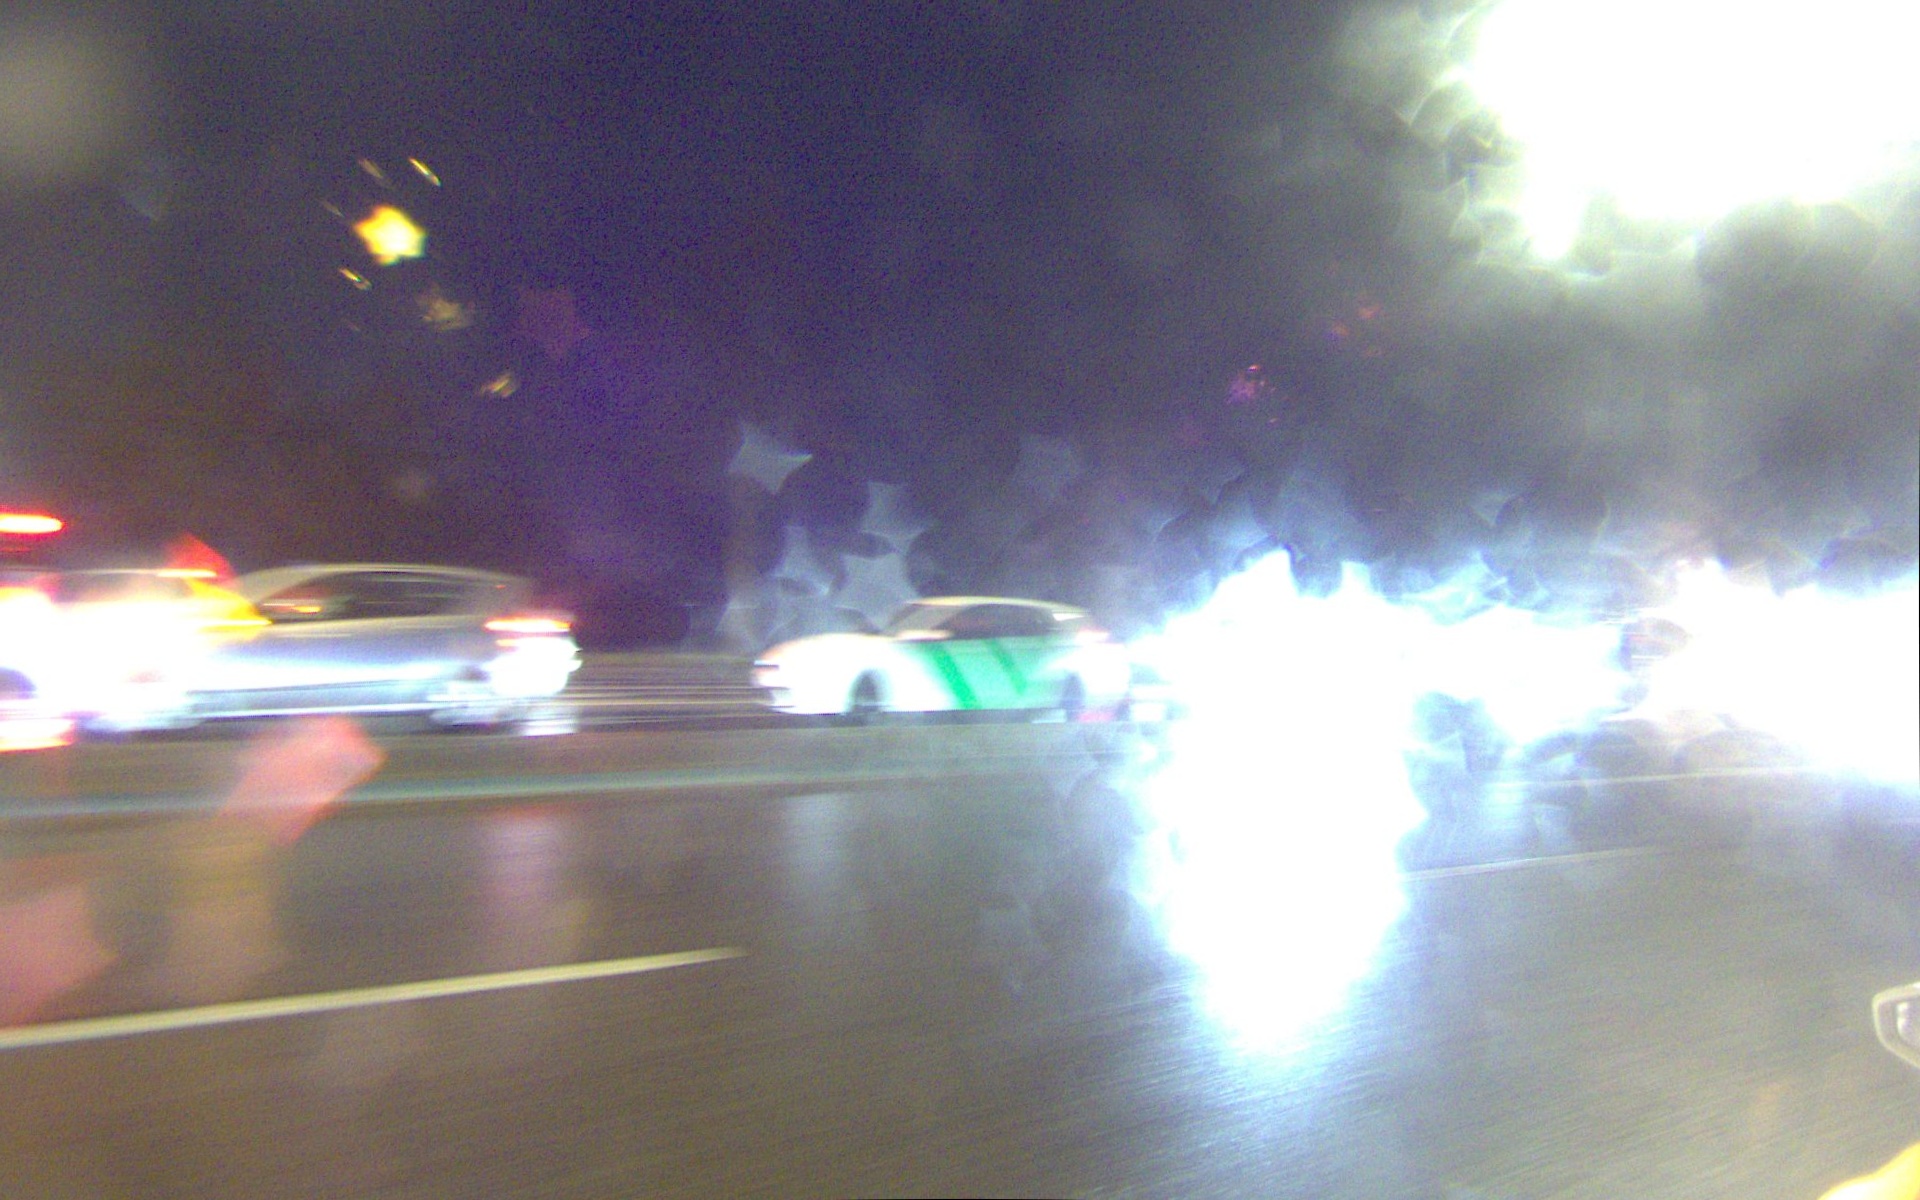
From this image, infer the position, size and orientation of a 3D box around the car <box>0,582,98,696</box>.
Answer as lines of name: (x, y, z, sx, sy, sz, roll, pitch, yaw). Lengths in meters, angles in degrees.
car: (-14.554, 0.396, 13.017, 4.736, 1.446, 1.756, 4, -1, -23)

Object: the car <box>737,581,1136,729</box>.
car: (-0.275, 0.606, 11.865, 4.349, 1.504, 1.773, 2, 0, -23)

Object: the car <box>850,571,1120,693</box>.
car: (0.408, 0.532, 16.234, 3.922, 1.688, 1.794, 4, -1, -24)

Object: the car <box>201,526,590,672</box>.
car: (-6.908, 0.034, 12.811, 3.997, 1.506, 1.710, 3, -1, -20)

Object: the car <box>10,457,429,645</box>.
car: (-13.016, -0.816, 18.111, 5.512, 2.746, 2.251, 4, 1, -12)

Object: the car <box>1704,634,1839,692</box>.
car: (24.976, 1.933, 30.909, 4.087, 1.623, 1.489, 2, 0, -23)

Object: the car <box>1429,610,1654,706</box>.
car: (12.346, 1.241, 21.314, 4.426, 1.688, 1.793, 4, 1, -24)

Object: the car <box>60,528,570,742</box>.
car: (-5.913, 0.325, 9.787, 3.847, 1.748, 1.755, 2, 0, -24)

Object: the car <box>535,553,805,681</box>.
car: (-5.016, 0.302, 17.413, 4.226, 1.873, 1.755, 4, 1, -24)

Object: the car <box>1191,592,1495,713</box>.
car: (5.749, 0.770, 15.048, 4.247, 1.598, 1.807, 2, -1, -25)

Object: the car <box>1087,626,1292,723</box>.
car: (5.000, 1.629, 21.853, 4.068, 1.872, 1.755, 4, -1, -24)
